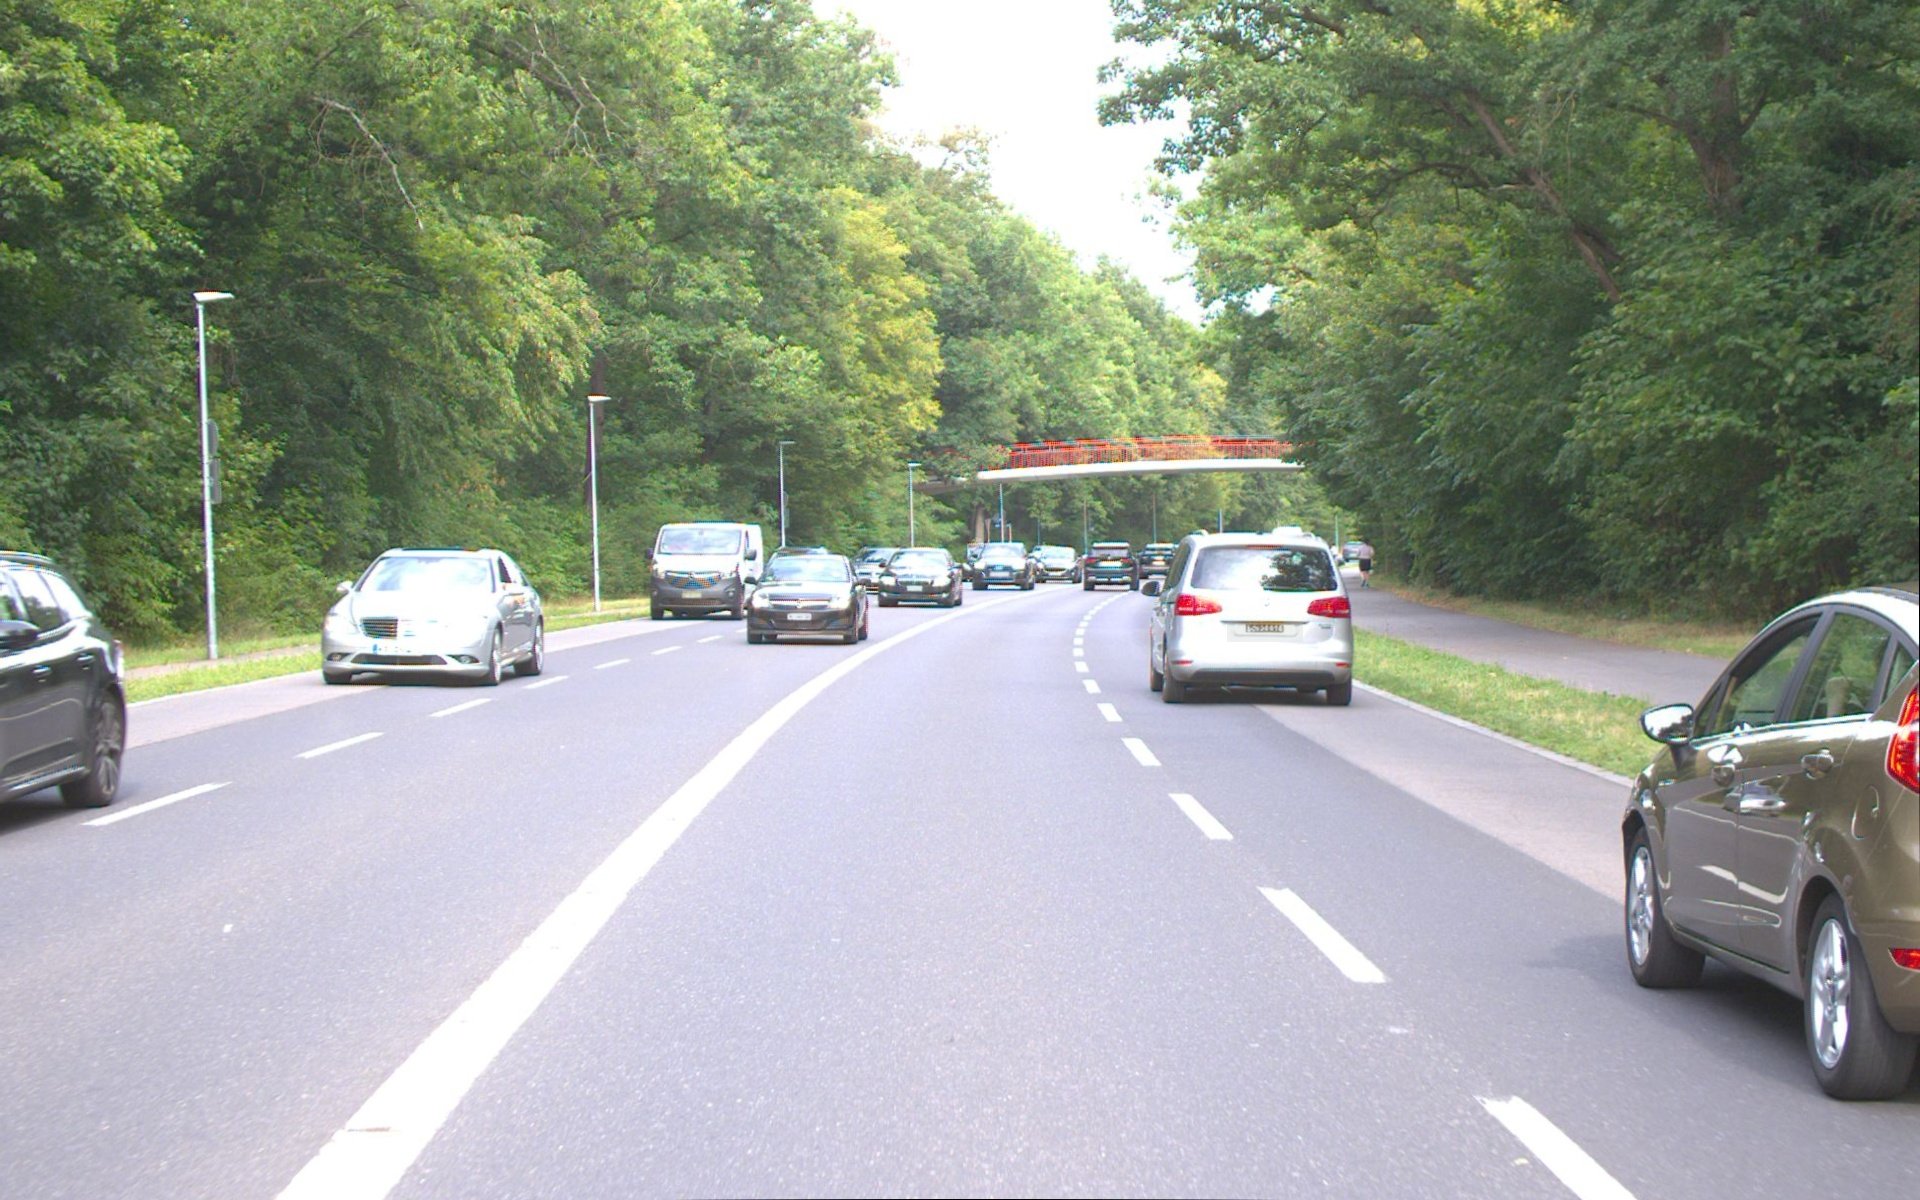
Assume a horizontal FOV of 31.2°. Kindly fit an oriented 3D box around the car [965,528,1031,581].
[{"bbox_3d":[1.305,-1.539,117.134,1.963,1.700,3.999,-3,0,4],"label":"car"}]

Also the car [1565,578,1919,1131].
[{"bbox_3d":[3.114,0.675,10.832,1.635,1.415,4.000,2,0,-1],"label":"car"}]

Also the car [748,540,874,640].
[{"bbox_3d":[-2.326,-0.158,54.517,1.656,1.481,3.866,2,0,2],"label":"car"}]

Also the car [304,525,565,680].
[{"bbox_3d":[-5.758,0.025,38.242,1.994,1.558,4.603,2,0,2],"label":"car"}]

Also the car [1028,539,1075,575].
[{"bbox_3d":[3.743,-1.745,140.146,1.698,1.381,3.826,-3,0,4],"label":"car"}]

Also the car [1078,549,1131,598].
[{"bbox_3d":[4.940,-0.904,117.005,1.729,1.582,4.000,2,0,3],"label":"car"}]

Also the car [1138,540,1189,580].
[{"bbox_3d":[9.300,-1.815,157.122,1.994,1.691,3.999,2,0,8],"label":"car"}]

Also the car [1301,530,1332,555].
[{"bbox_3d":[23.944,-3.871,230.879,1.994,1.700,3.999,-1,1,7],"label":"car"}]

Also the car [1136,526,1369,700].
[{"bbox_3d":[2.897,0.120,34.848,1.993,1.601,4.000,2,0,0],"label":"car"}]

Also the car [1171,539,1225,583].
[{"bbox_3d":[10.074,-1.627,145.335,1.994,1.744,3.999,2,0,7],"label":"car"}]

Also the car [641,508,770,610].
[{"bbox_3d":[-5.177,-0.817,70.543,1.994,2.007,5.053,-1,0,3],"label":"car"}]

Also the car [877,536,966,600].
[{"bbox_3d":[-0.930,-0.779,85.325,1.885,1.473,4.518,2,0,3],"label":"car"}]

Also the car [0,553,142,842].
[{"bbox_3d":[-5.713,0.455,17.919,1.881,1.438,4.404,2,0,-1],"label":"car"}]
